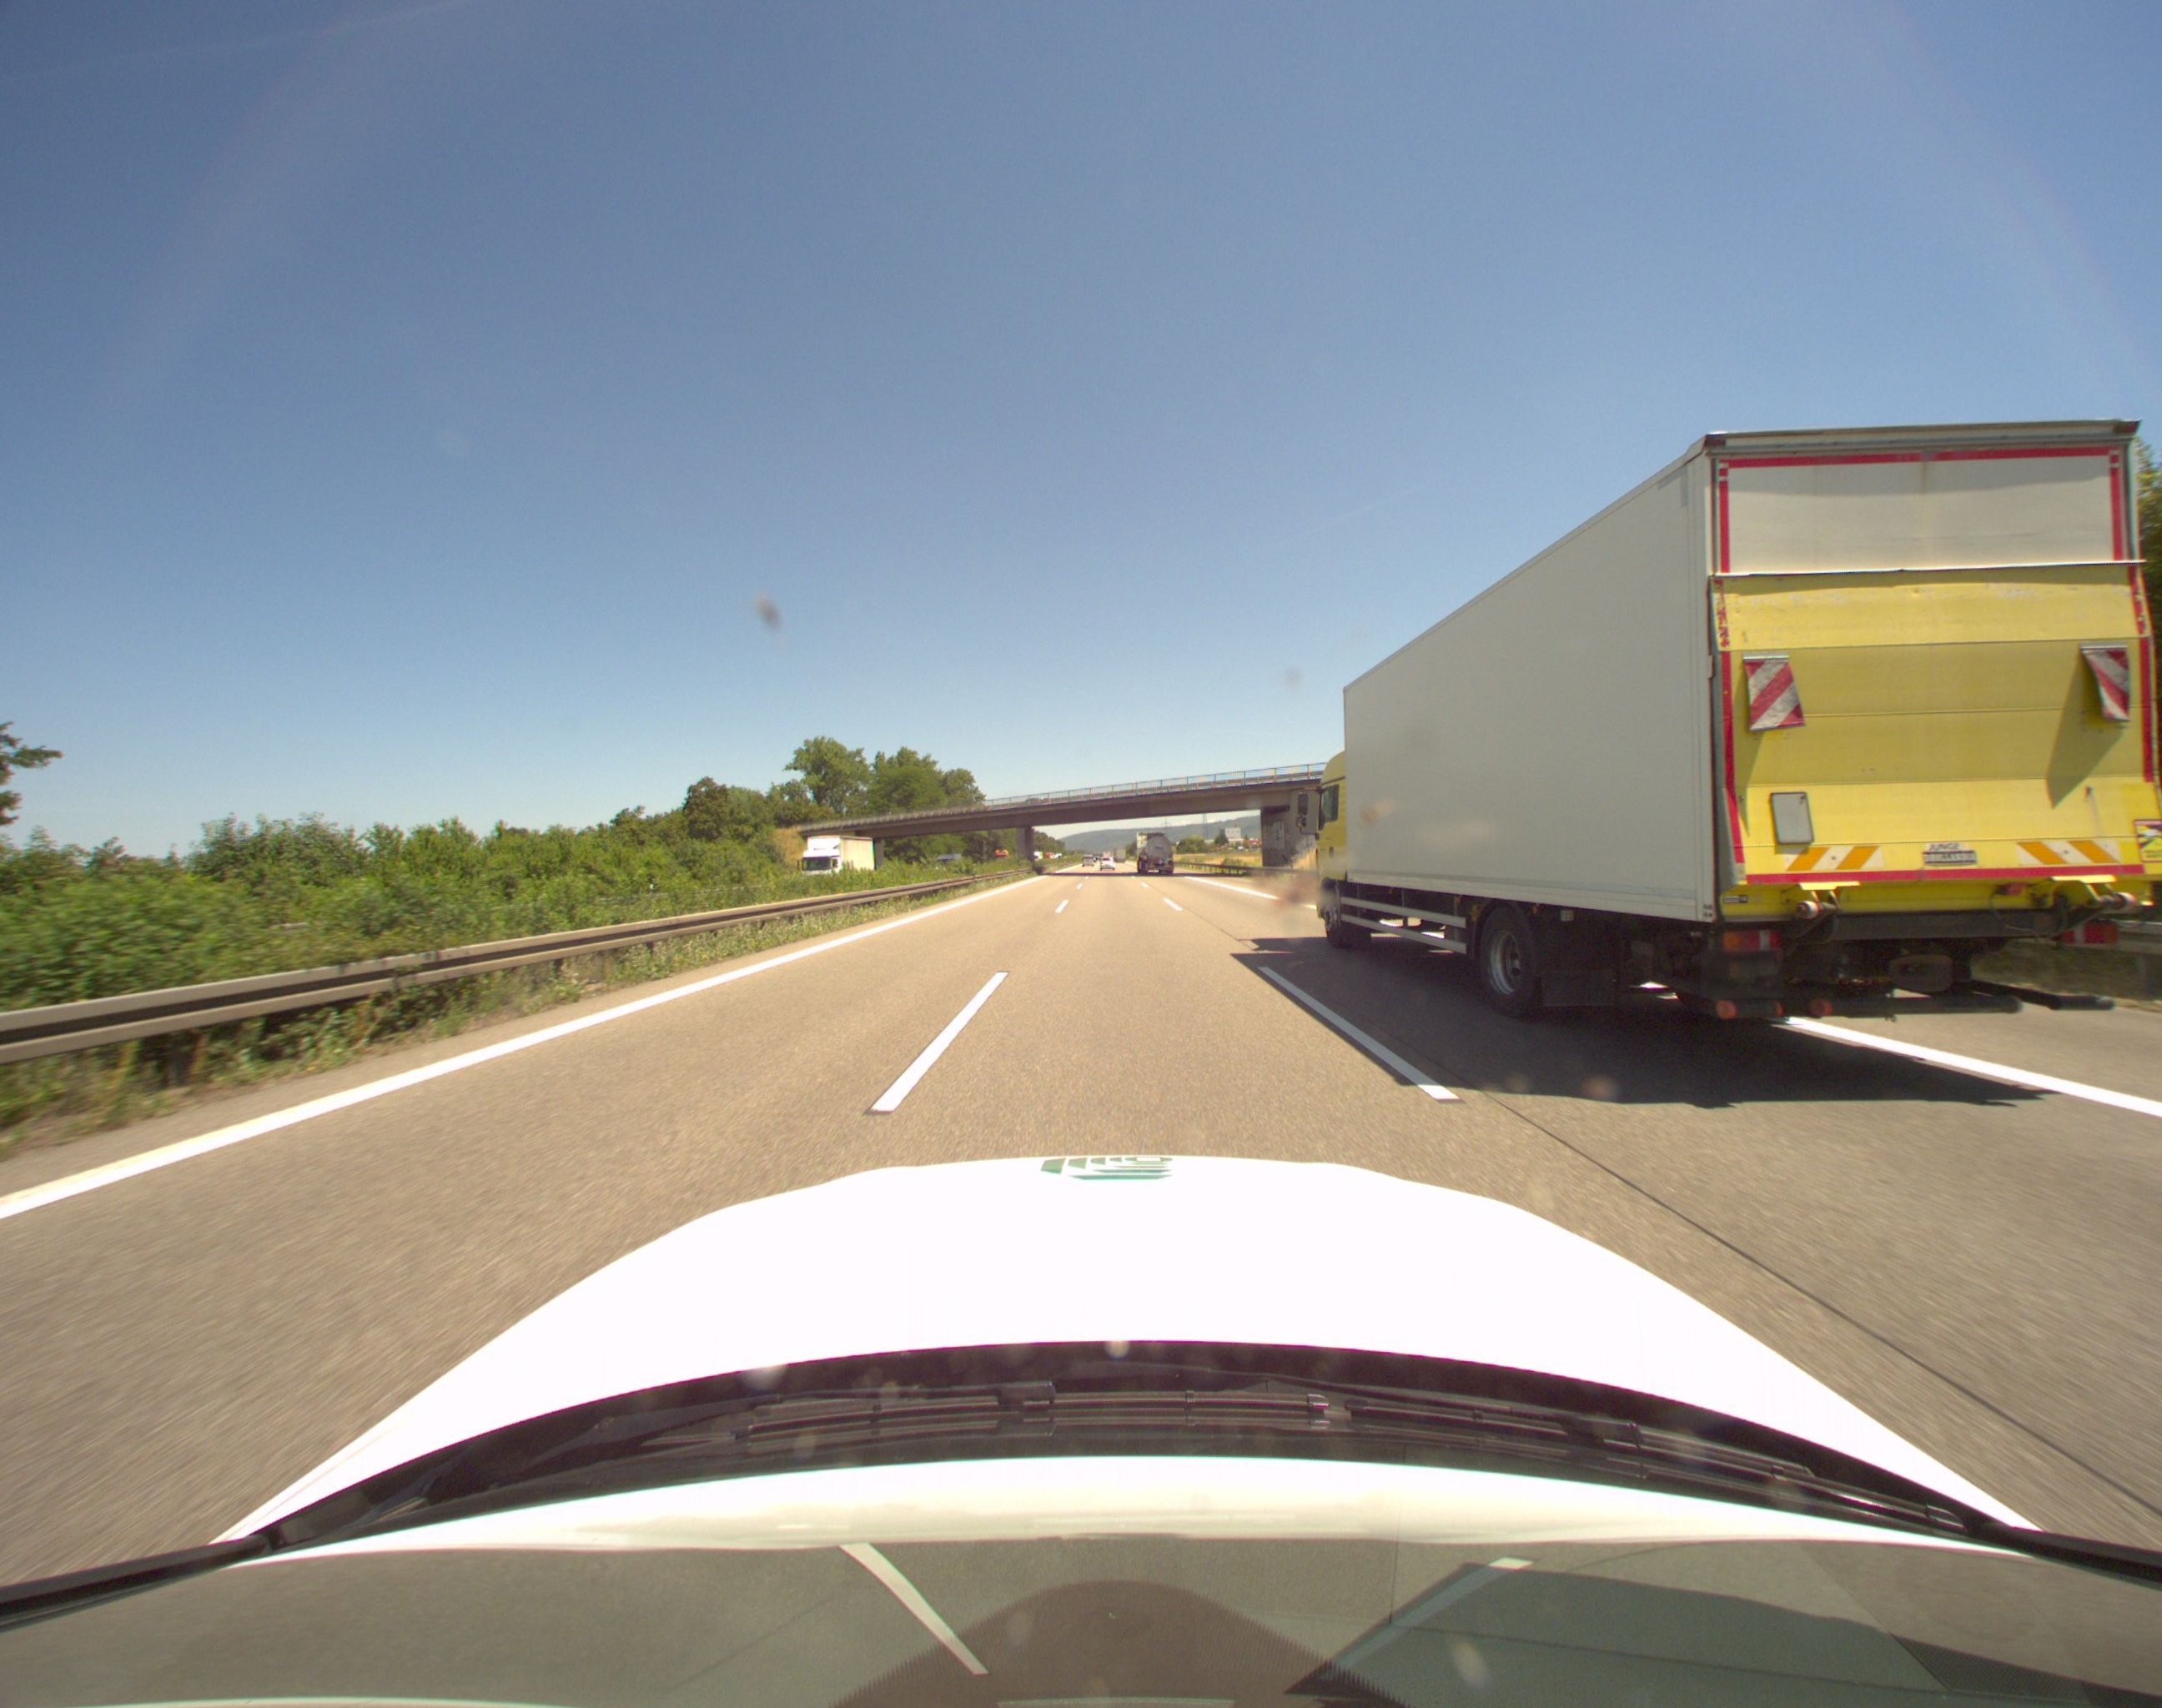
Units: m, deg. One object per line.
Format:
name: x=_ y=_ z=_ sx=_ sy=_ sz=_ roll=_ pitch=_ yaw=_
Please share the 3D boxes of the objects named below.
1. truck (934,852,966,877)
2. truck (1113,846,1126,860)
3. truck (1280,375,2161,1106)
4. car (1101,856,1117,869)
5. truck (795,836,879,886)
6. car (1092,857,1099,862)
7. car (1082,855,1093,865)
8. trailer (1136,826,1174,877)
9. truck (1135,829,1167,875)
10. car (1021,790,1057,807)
truck: x=-13.313 y=1.059 z=83.149 sx=1.985 sy=2.399 sz=6.424 roll=0 pitch=0 yaw=3
truck: x=10.589 y=-0.247 z=222.120 sx=3.253 sy=3.857 sz=11.634 roll=0 pitch=0 yaw=1
truck: x=5.091 y=-0.646 z=10.028 sx=2.923 sy=4.200 sz=10.684 roll=0 pitch=0 yaw=1
car: x=3.191 y=0.986 z=94.252 sx=1.800 sy=1.468 sz=4.002 roll=0 pitch=0 yaw=2
truck: x=-18.409 y=0.480 z=62.373 sx=2.866 sy=3.498 sz=10.741 roll=0 pitch=0 yaw=2
car: x=3.977 y=1.453 z=228.511 sx=1.828 sy=1.386 sz=4.002 roll=0 pitch=0 yaw=2
car: x=1.121 y=0.979 z=135.967 sx=1.845 sy=1.633 sz=4.002 roll=0 pitch=0 yaw=2
trailer: x=6.420 y=-0.184 z=71.652 sx=2.570 sy=4.074 sz=11.105 roll=0 pitch=0 yaw=1
truck: x=6.534 y=-0.177 z=76.696 sx=2.564 sy=4.072 sz=6.394 roll=0 pitch=0 yaw=1
car: x=-4.274 y=-5.578 z=82.317 sx=1.647 sy=1.468 sz=3.955 roll=0 pitch=0 yaw=-38
